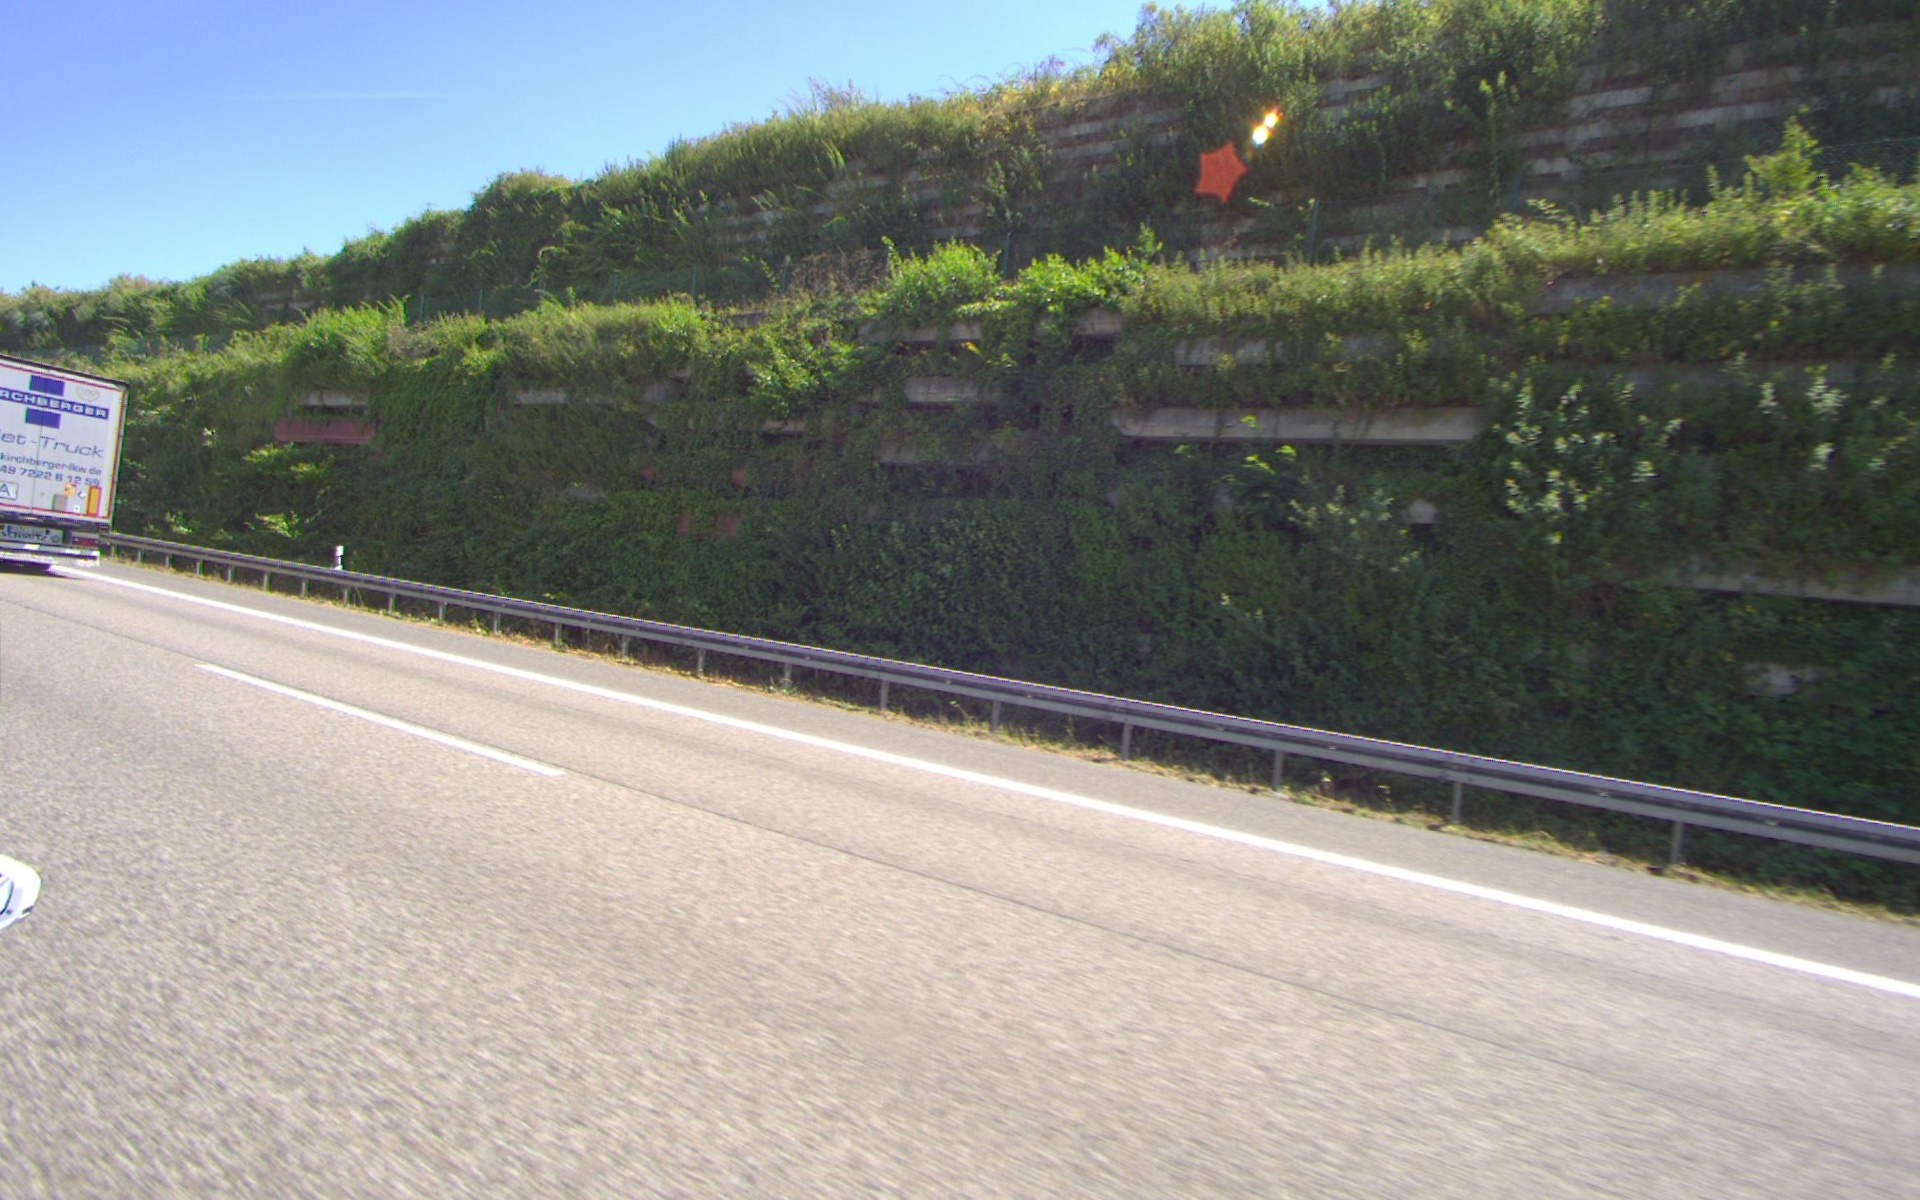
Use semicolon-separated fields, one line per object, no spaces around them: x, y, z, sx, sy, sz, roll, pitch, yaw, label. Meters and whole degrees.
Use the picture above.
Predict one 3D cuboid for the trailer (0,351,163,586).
-23.081;-3.131;22.900;13.208;4.173;3.186;7;1;32;trailer
